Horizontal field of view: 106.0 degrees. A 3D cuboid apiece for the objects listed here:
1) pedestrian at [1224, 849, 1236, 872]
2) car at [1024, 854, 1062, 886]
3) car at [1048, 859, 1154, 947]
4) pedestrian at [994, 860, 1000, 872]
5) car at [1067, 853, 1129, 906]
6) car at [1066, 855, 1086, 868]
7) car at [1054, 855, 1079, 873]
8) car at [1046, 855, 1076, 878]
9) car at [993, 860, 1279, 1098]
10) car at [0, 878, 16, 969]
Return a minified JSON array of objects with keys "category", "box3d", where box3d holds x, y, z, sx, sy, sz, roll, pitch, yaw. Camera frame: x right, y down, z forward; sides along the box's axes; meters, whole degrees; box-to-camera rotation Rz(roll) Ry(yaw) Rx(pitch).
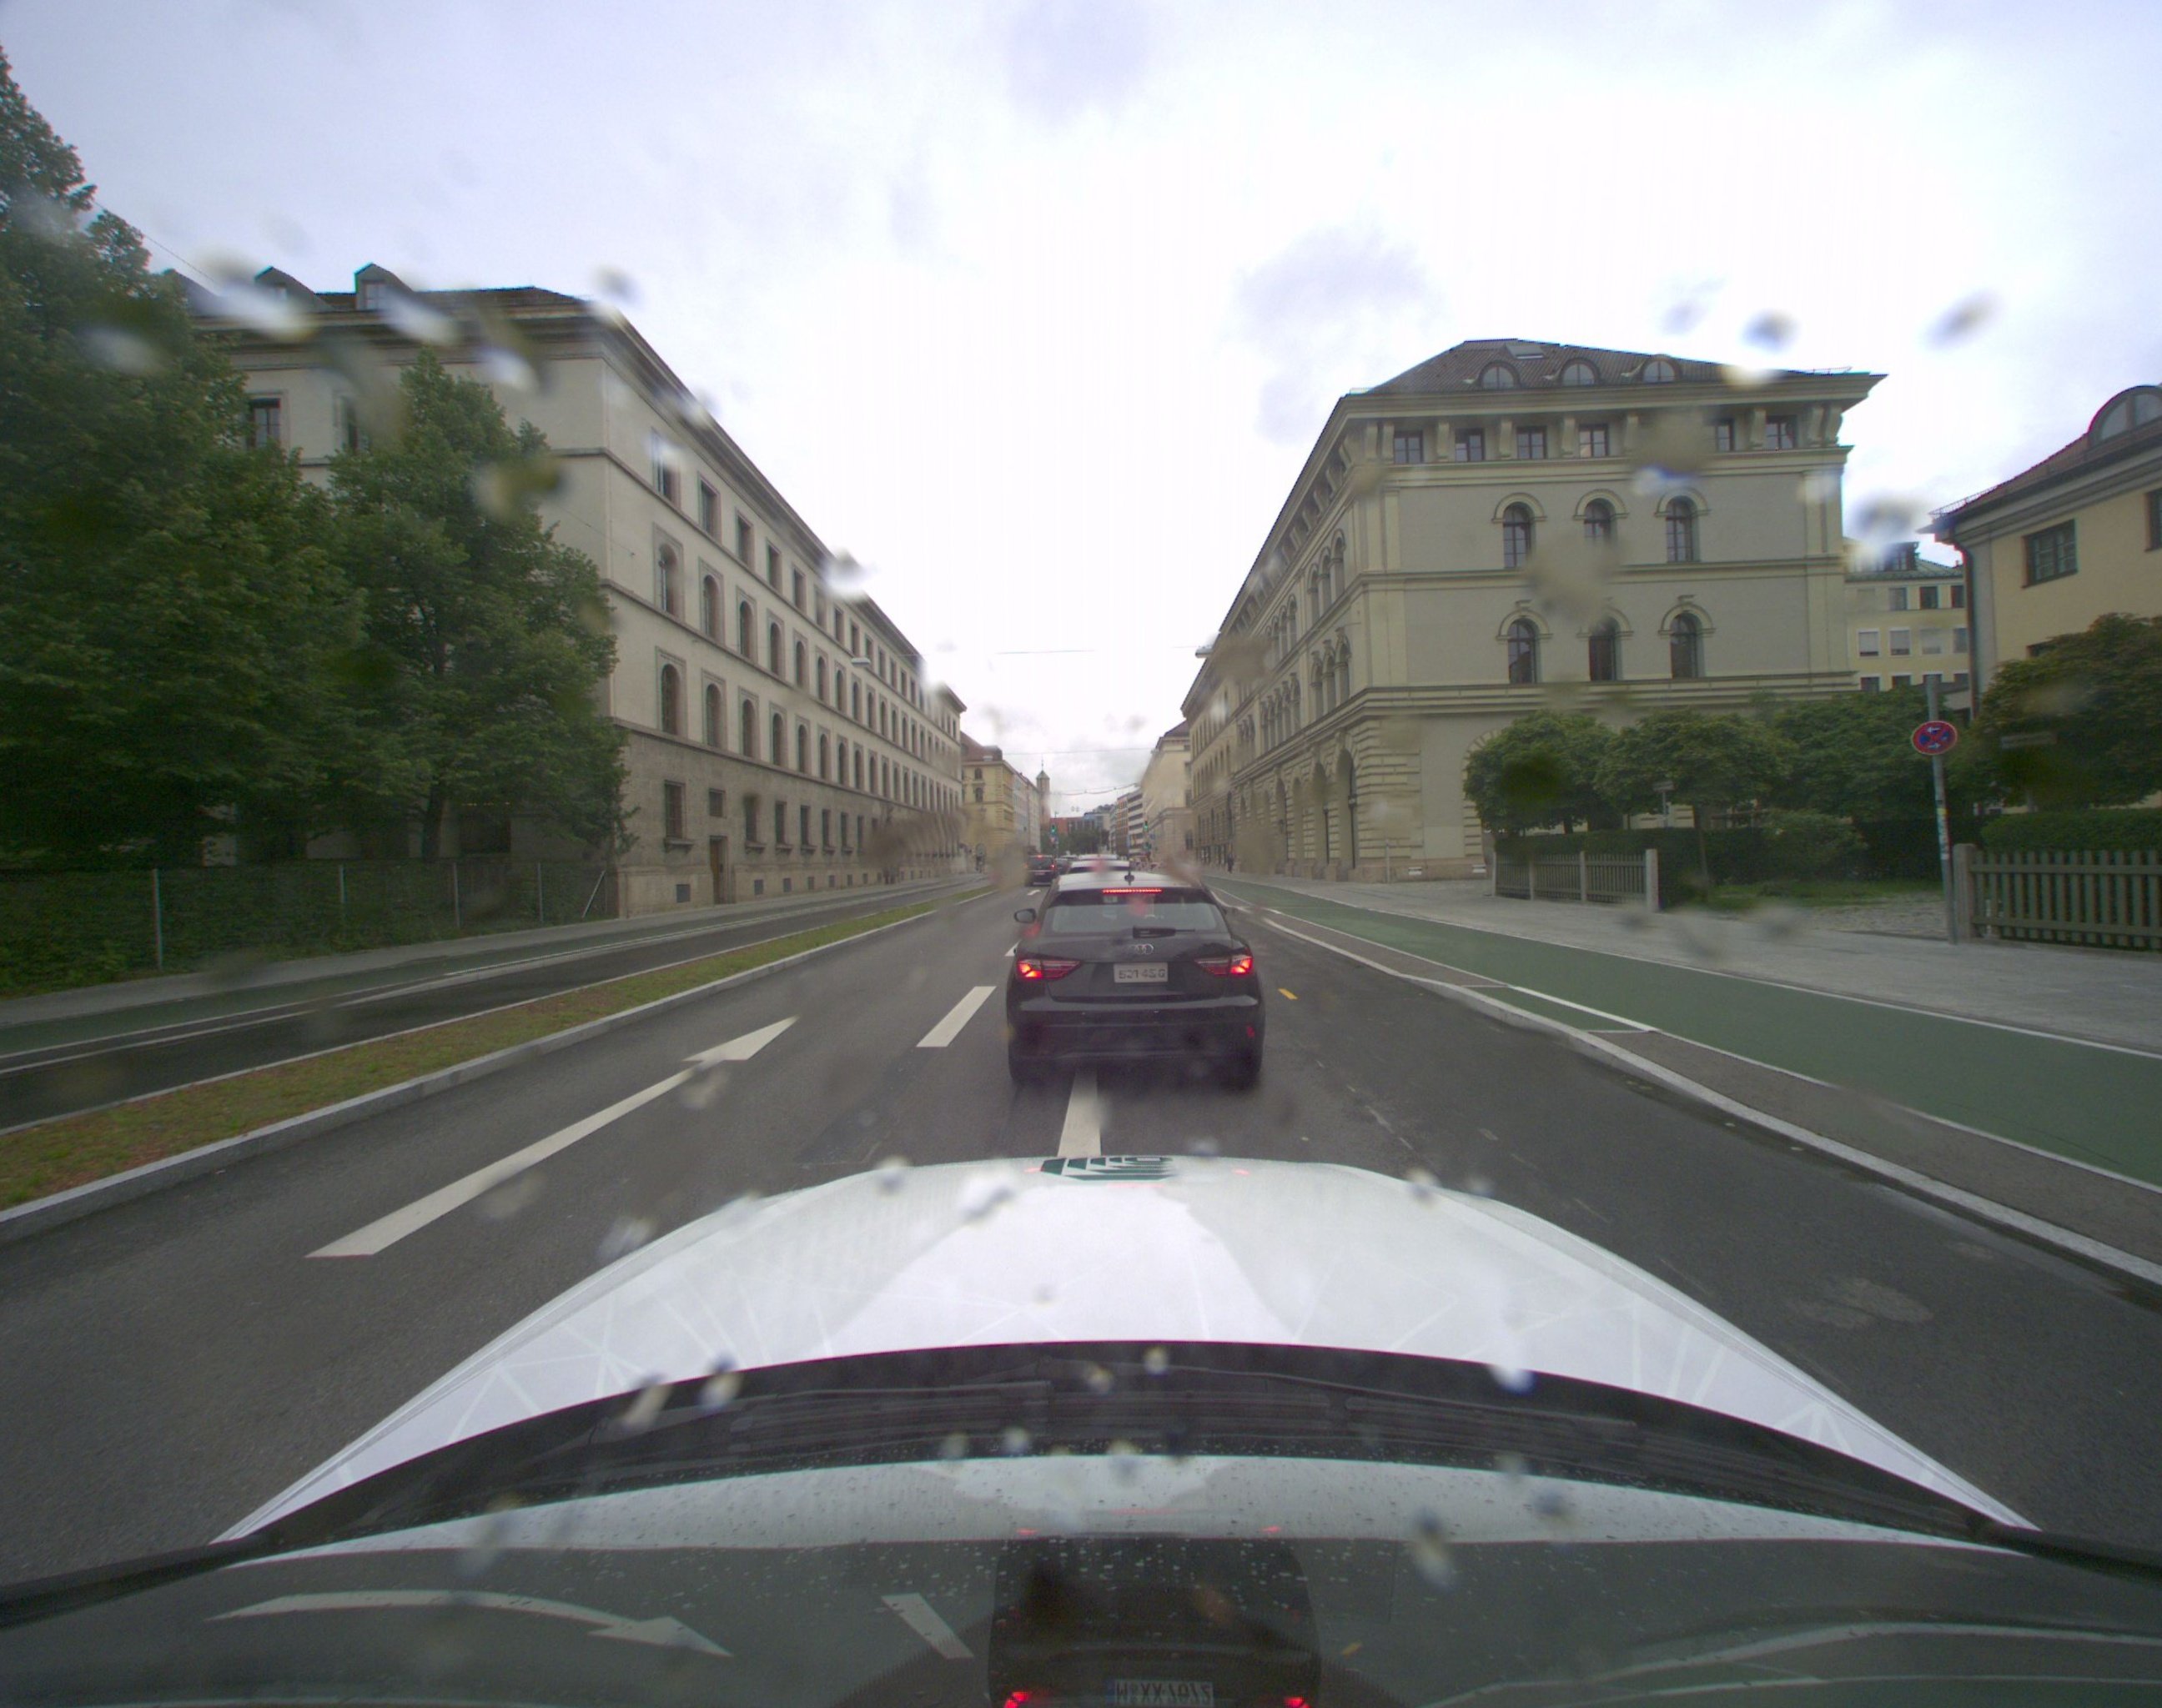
[{"category":"pedestrian","box3d":[11.022,0.472,60.429,0.707,1.618,0.754,-2,0,1]},{"category":"car","box3d":[-1.994,0.819,43.788,1.758,1.616,4.031,-1,0,1]},{"category":"car","box3d":[0.381,0.821,15.407,1.724,1.403,4.001,0,0,1]},{"category":"pedestrian","box3d":[-12.904,1.839,125.036,0.653,1.805,0.727,-2,0,1]},{"category":"car","box3d":[0.521,0.723,24.722,1.724,1.461,4.001,0,0,1]},{"category":"car","box3d":[-0.504,0.831,90.728,1.986,1.444,4.002,-2,0,2]},{"category":"car","box3d":[-1.239,0.826,71.262,1.986,1.444,4.002,-2,0,2]},{"category":"car","box3d":[-1.472,0.946,61.409,1.986,1.627,4.002,-2,0,2]},{"category":"car","box3d":[0.388,0.777,6.950,1.724,1.403,4.001,0,0,1]},{"category":"car","box3d":[-21.894,1.350,14.201,4.247,1.649,1.805,-2,0,1]}]
